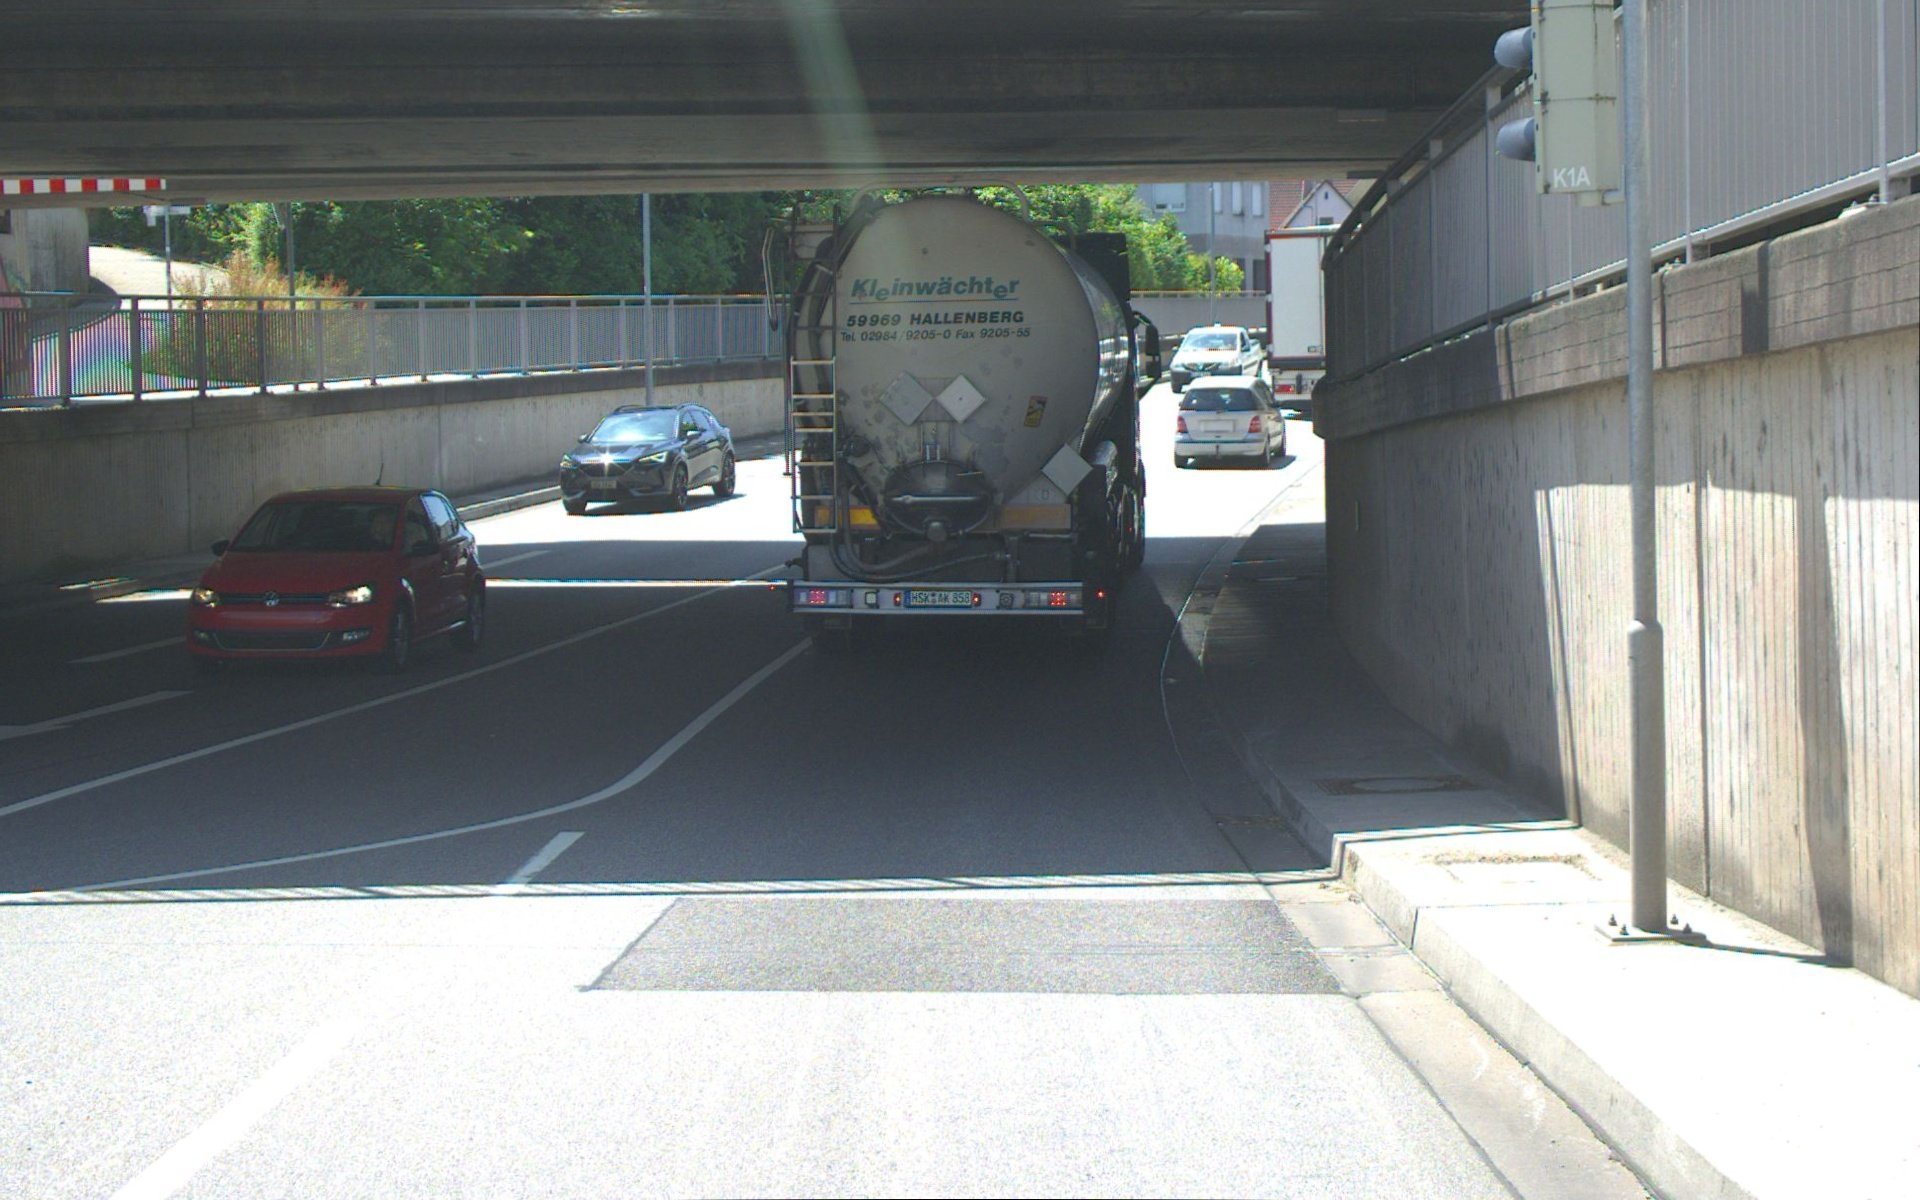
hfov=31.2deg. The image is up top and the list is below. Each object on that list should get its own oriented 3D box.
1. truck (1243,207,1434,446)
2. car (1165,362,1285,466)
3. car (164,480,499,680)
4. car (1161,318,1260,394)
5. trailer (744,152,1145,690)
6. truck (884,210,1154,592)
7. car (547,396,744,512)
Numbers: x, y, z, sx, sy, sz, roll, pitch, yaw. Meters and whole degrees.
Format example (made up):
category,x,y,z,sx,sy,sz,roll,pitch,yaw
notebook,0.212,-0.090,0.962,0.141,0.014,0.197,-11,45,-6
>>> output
category,x,y,z,sx,sy,sz,roll,pitch,yaw
truck,8.603,-6.156,77.120,3.082,4.981,10.080,1,5,13
car,4.756,-3.343,61.296,1.883,1.633,4.000,1,6,8
car,-5.069,-0.218,28.224,1.743,1.459,3.825,0,3,5
car,6.262,-6.089,85.581,1.793,1.677,3.999,2,7,13
trailer,0.236,-1.825,32.639,2.735,4.049,13.314,0,4,4
truck,0.804,-2.343,39.845,2.735,4.049,6.530,0,4,4
car,-4.791,-2.282,52.945,1.899,1.524,3.999,-1,5,11
